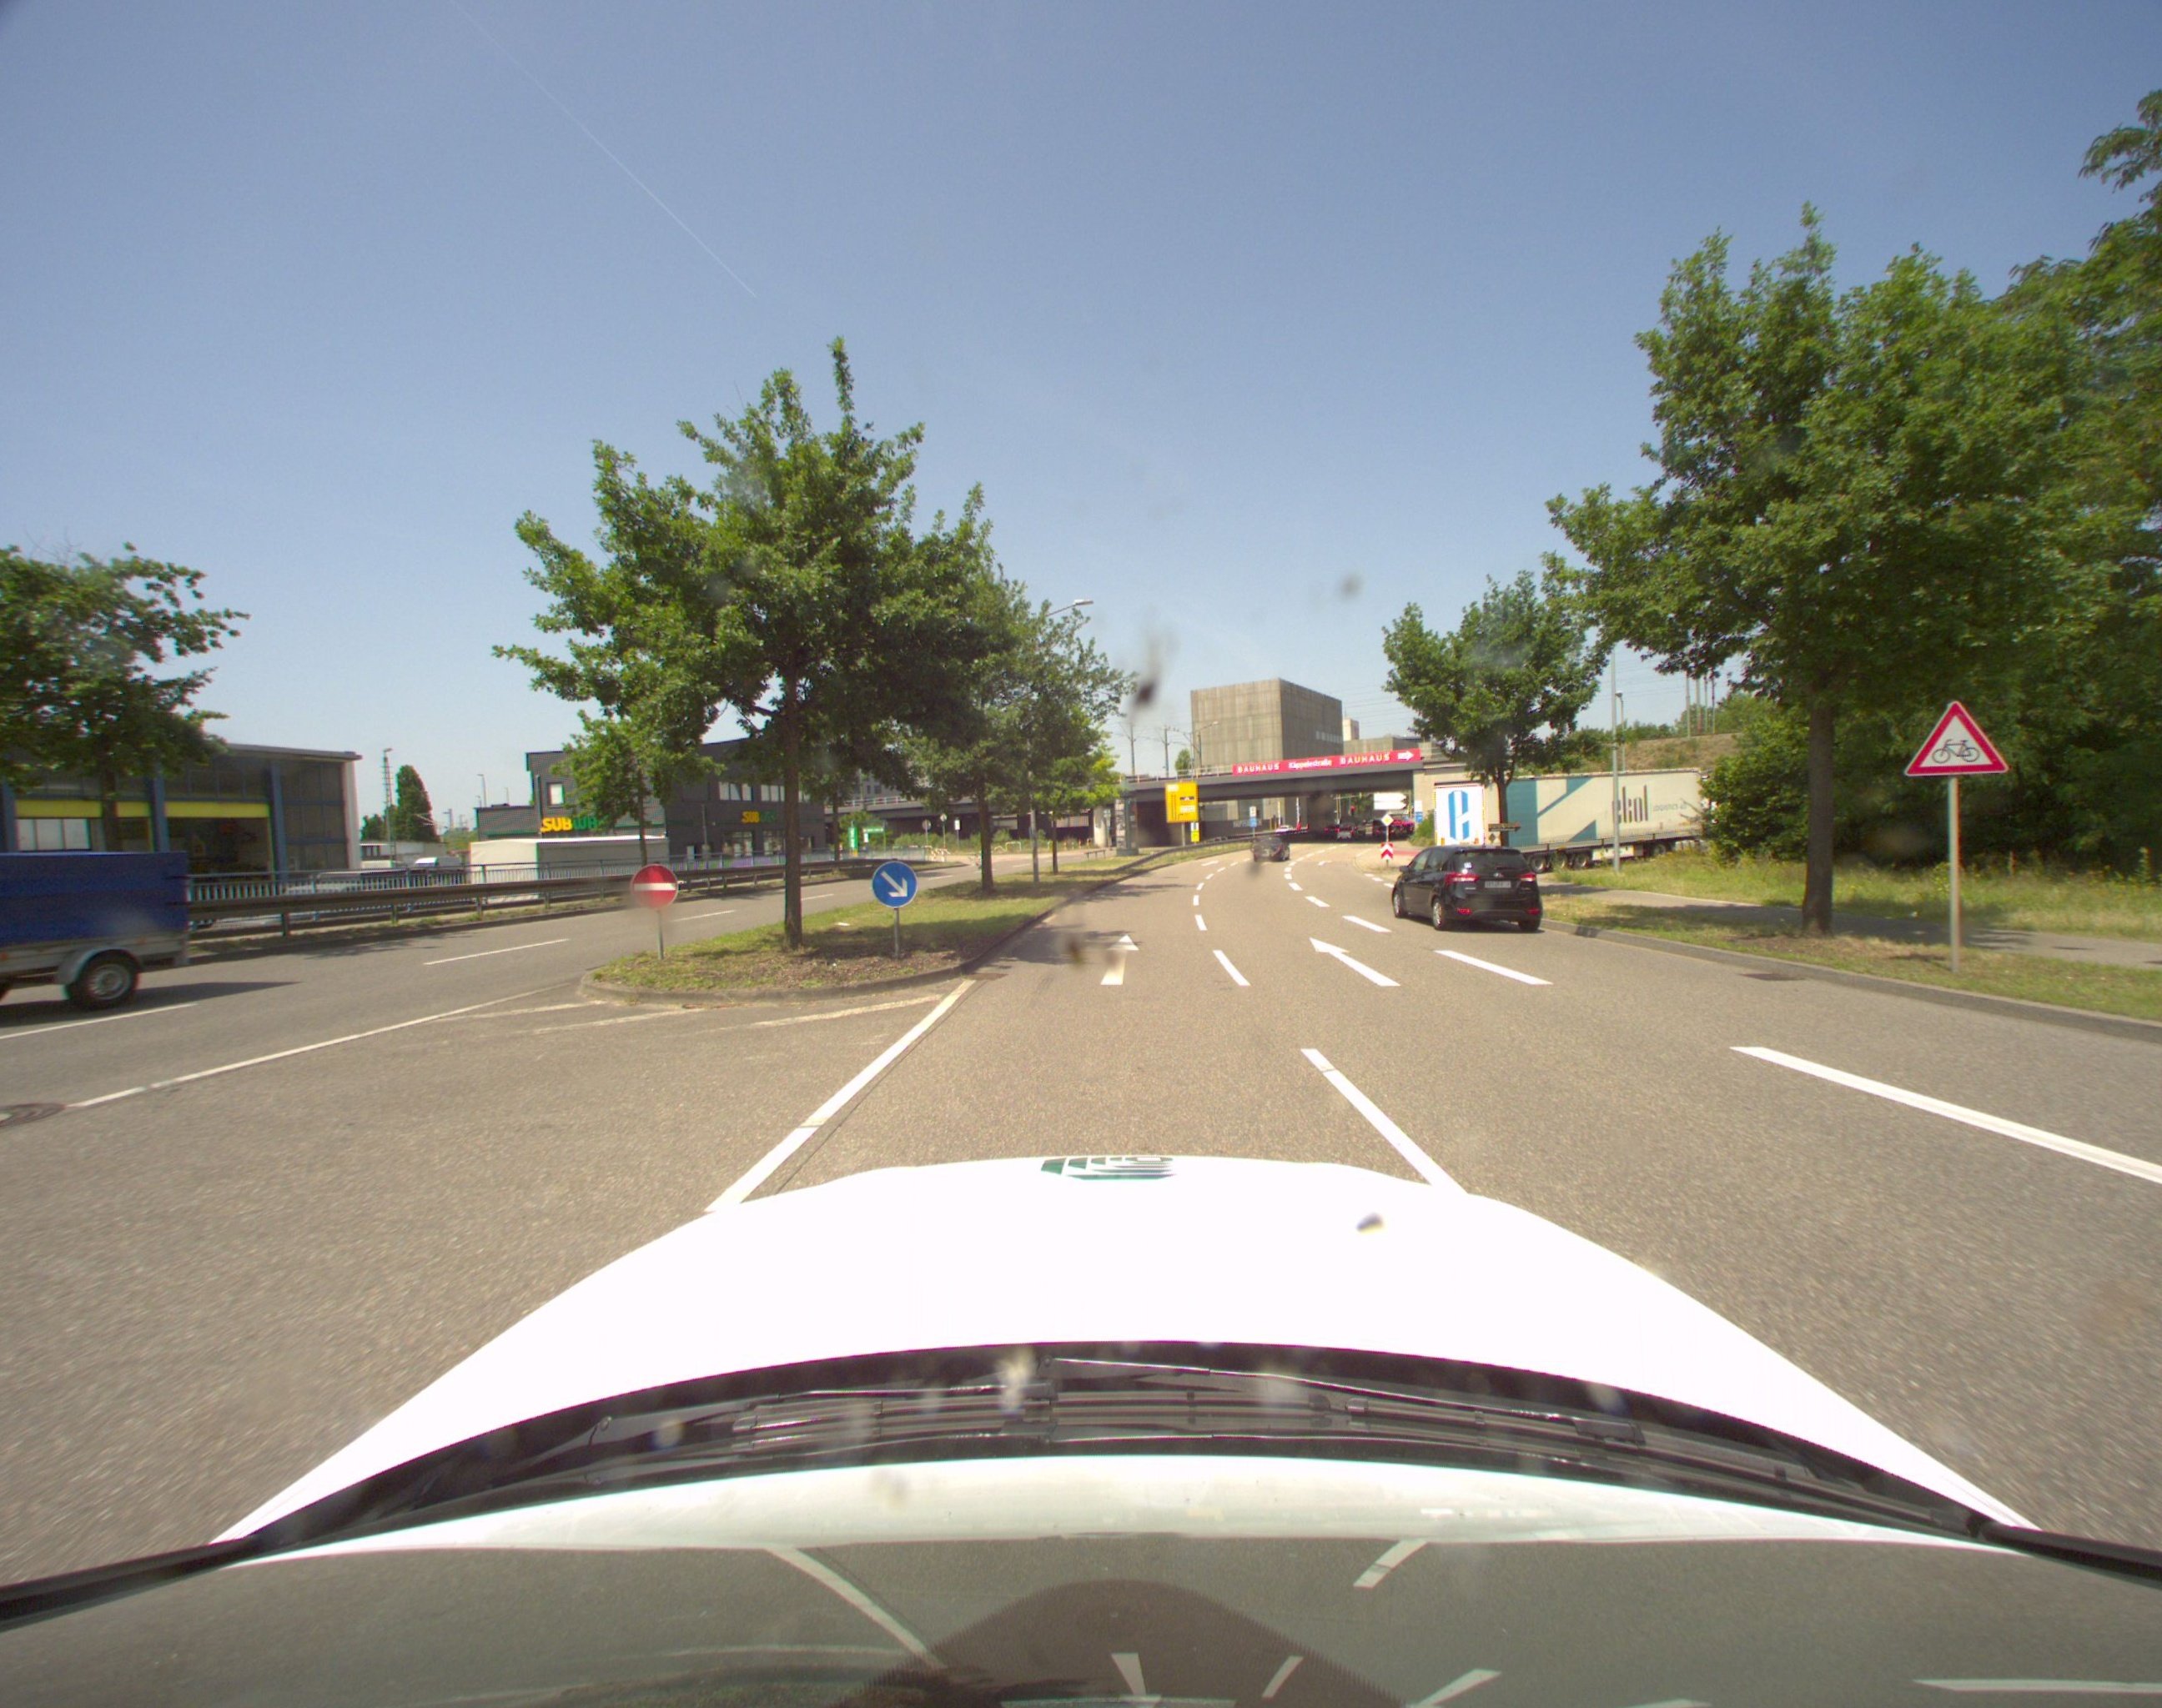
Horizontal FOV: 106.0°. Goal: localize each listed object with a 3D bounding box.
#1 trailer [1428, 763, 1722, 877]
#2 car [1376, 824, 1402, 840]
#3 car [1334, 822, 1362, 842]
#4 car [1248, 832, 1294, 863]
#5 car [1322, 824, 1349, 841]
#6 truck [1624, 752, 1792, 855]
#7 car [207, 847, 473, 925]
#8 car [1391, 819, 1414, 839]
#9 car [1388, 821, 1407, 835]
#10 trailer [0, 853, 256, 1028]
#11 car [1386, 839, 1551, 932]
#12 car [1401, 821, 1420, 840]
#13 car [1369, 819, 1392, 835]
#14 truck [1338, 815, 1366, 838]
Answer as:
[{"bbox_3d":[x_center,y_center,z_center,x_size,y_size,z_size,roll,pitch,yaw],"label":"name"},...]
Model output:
[{"bbox_3d":[21.924,-1.668,35.675,14.792,4.367,3.065,-3,2,-24],"label":"trailer"},{"bbox_3d":[31.401,-2.282,83.009,1.823,1.568,4.025,-1,2,30],"label":"car"},{"bbox_3d":[27.152,-2.226,82.764,1.823,1.890,4.025,-1,2,30],"label":"car"},{"bbox_3d":[11.467,-0.426,49.075,1.939,1.633,4.304,-1,2,23],"label":"car"},{"bbox_3d":[28.387,-2.422,90.806,1.922,1.721,4.026,-1,2,30],"label":"car"},{"bbox_3d":[29.539,-2.359,38.445,6.065,4.367,3.073,-4,2,-13],"label":"truck"},{"bbox_3d":[-18.025,0.692,20.209,1.887,1.569,4.651,-4,0,8],"label":"car"},{"bbox_3d":[34.649,-2.706,87.747,1.716,2.013,3.822,-4,0,30],"label":"car"},{"bbox_3d":[47.455,-3.919,122.052,1.974,2.013,4.025,-1,2,29],"label":"car"},{"bbox_3d":[-10.869,0.819,8.340,1.501,1.615,3.306,-1,0,-2],"label":"trailer"},{"bbox_3d":[7.453,0.543,16.115,1.757,1.599,4.086,-1,0,7],"label":"car"},{"bbox_3d":[37.643,-2.709,92.910,1.606,2.013,3.561,-4,0,27],"label":"car"},{"bbox_3d":[35.787,-3.252,97.269,1.823,1.890,4.025,-1,2,30],"label":"car"},{"bbox_3d":[32.342,-3.318,97.111,2.047,2.537,4.026,-3,1,34],"label":"truck"}]
